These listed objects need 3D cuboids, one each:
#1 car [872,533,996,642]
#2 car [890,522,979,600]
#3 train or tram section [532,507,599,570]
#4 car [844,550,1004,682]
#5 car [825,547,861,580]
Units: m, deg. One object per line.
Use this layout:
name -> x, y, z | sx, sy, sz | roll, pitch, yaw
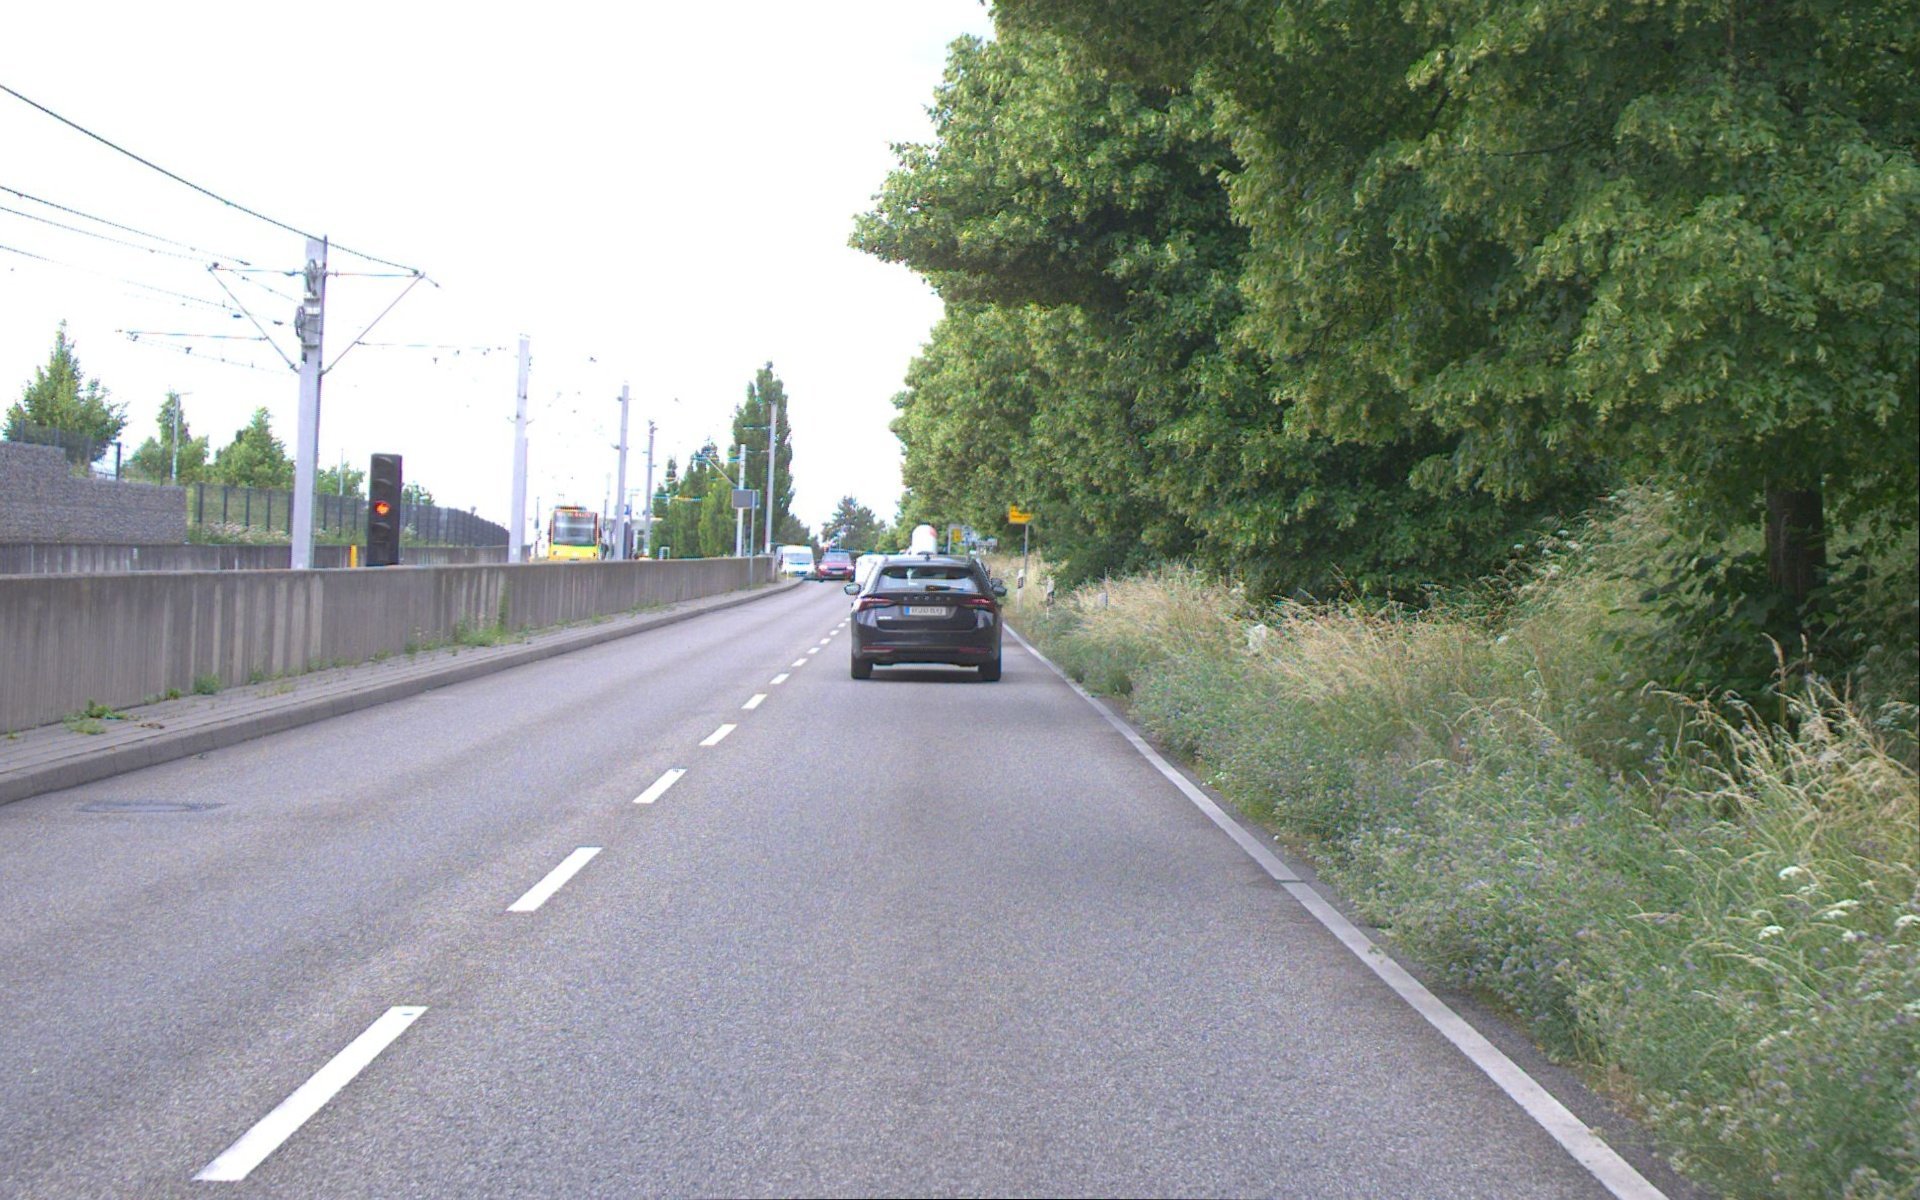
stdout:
car -> -0.436, -0.242, 58.085 | 1.993, 1.747, 4.000 | 1, 1, 0
car -> -0.608, -0.894, 80.066 | 1.993, 1.734, 4.000 | 1, 0, 0
train or tram section -> -21.679, -3.256, 188.154 | 2.811, 3.106, 18.920 | 1, 0, -9
car -> -0.425, 0.152, 40.886 | 1.781, 1.463, 4.000 | 1, 1, 0
car -> -5.636, -1.761, 166.399 | 1.662, 1.540, 3.953 | 1, 1, -1
